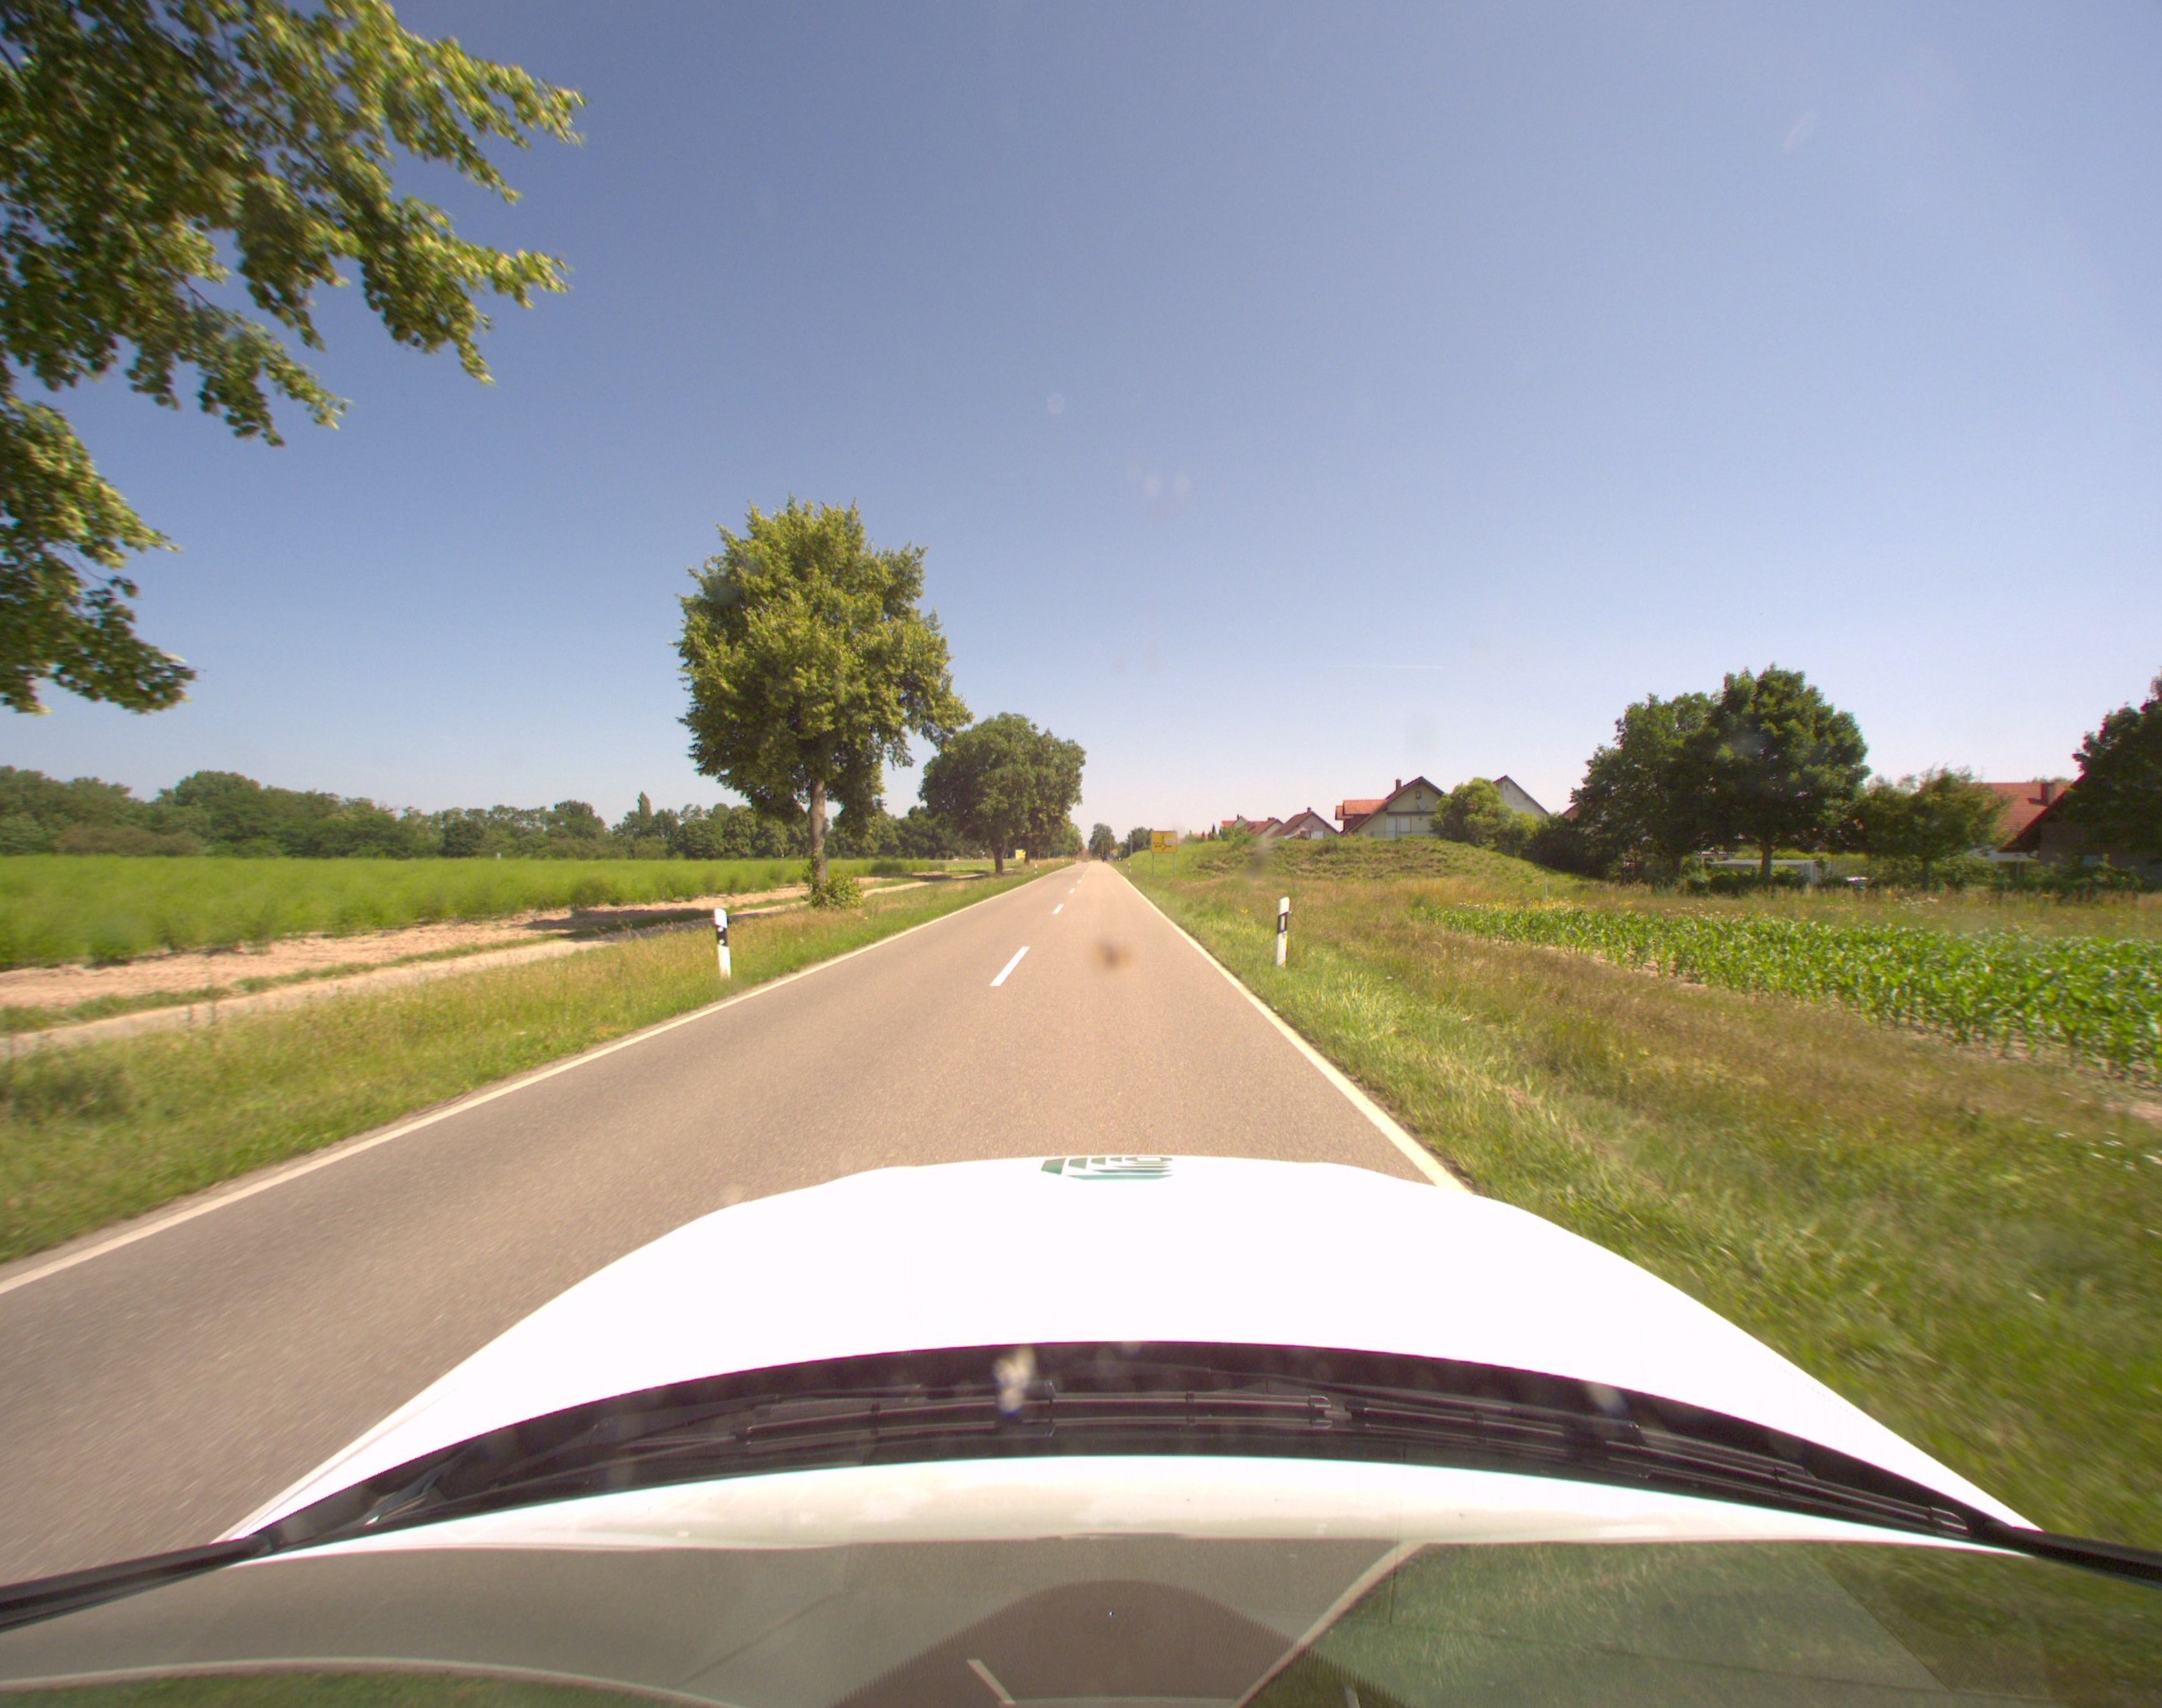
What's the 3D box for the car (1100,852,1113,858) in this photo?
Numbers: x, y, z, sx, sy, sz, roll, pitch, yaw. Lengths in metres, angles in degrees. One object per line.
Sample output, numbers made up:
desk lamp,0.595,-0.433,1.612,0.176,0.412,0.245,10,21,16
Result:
car,6.488,0.311,204.468,1.821,1.536,3.632,-1,0,29
